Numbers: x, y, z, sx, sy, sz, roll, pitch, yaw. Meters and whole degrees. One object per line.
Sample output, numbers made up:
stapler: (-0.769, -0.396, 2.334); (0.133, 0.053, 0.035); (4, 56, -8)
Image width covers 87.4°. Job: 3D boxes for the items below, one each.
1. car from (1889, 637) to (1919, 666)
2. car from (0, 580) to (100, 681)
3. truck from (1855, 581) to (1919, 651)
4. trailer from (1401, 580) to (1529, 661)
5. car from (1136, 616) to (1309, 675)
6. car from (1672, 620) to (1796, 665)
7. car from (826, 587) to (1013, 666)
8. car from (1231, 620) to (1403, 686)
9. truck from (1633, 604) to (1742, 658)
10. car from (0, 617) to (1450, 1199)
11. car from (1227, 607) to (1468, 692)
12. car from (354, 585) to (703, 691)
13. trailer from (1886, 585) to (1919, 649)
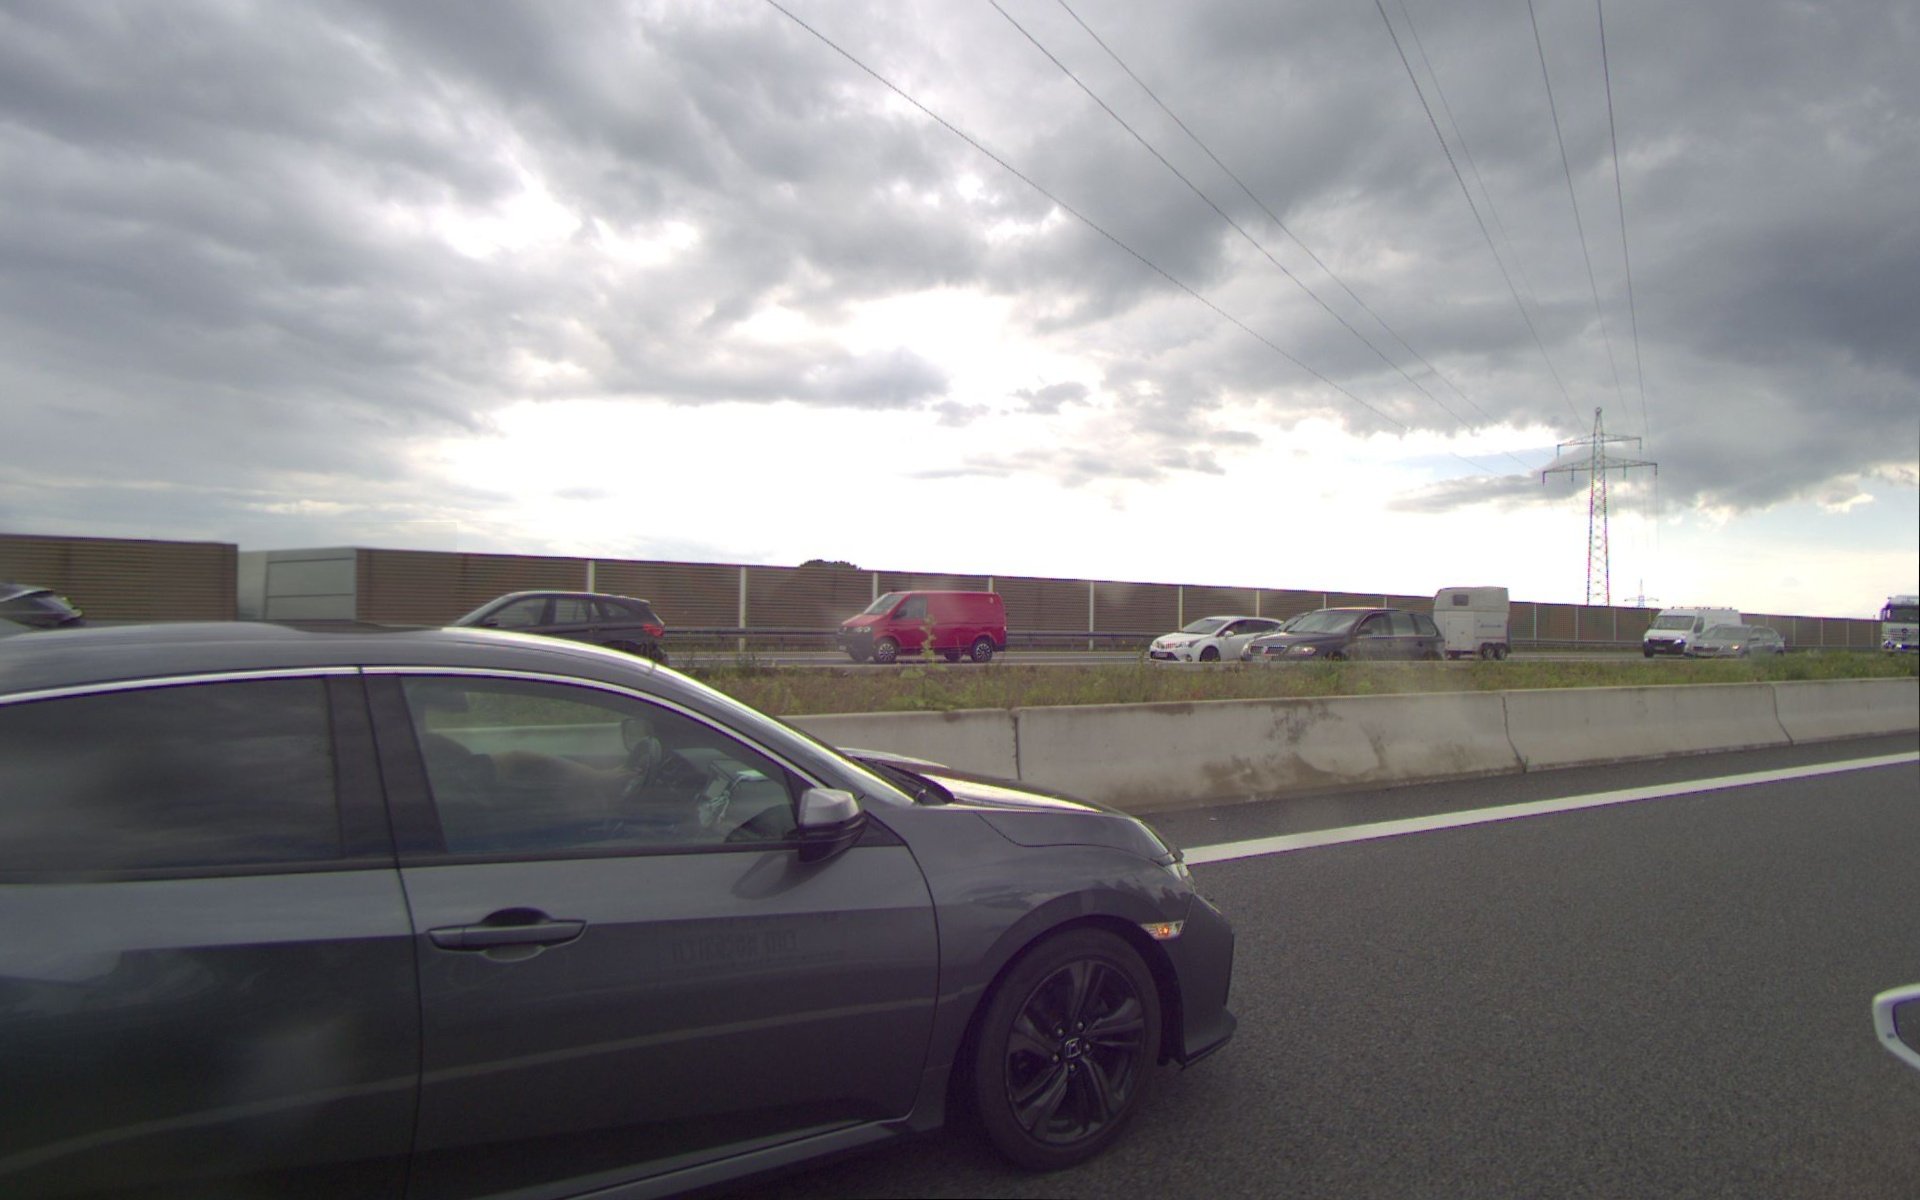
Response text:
car: (52.047, 2.780, 54.105); (4.513, 1.488, 1.778); (2, 0, -31)
car: (-15.978, 0.398, 14.695); (4.887, 1.473, 1.756); (2, 0, -31)
truck: (63.226, 1.091, 66.399); (8.141, 4.376, 3.643); (2, 0, -30)
trailer: (19.936, 0.817, 39.641); (4.845, 3.001, 2.236); (2, 0, -31)
car: (7.347, 1.241, 27.949); (4.887, 1.473, 1.756); (2, 0, -31)
car: (28.254, 1.540, 36.626); (4.887, 1.473, 1.955); (2, 0, -31)
car: (-1.070, 0.723, 27.592); (4.887, 1.993, 1.756); (2, 0, -31)
car: (8.923, 1.291, 25.025); (4.185, 1.473, 1.756); (2, 0, -31)
truck: (36.262, 1.550, 50.028); (6.191, 2.484, 2.092); (2, 0, -31)
car: (-0.934, 0.776, 2.857); (5.002, 1.387, 1.752); (1, 0, -31)
car: (7.709, 0.935, 19.827); (4.887, 1.473, 1.817); (2, 0, -31)
car: (-6.766, 0.581, 16.008); (4.887, 1.473, 1.756); (2, 0, -31)
trailer: (69.447, 1.295, 70.066); (12.321, 4.293, 3.643); (2, 0, -30)
